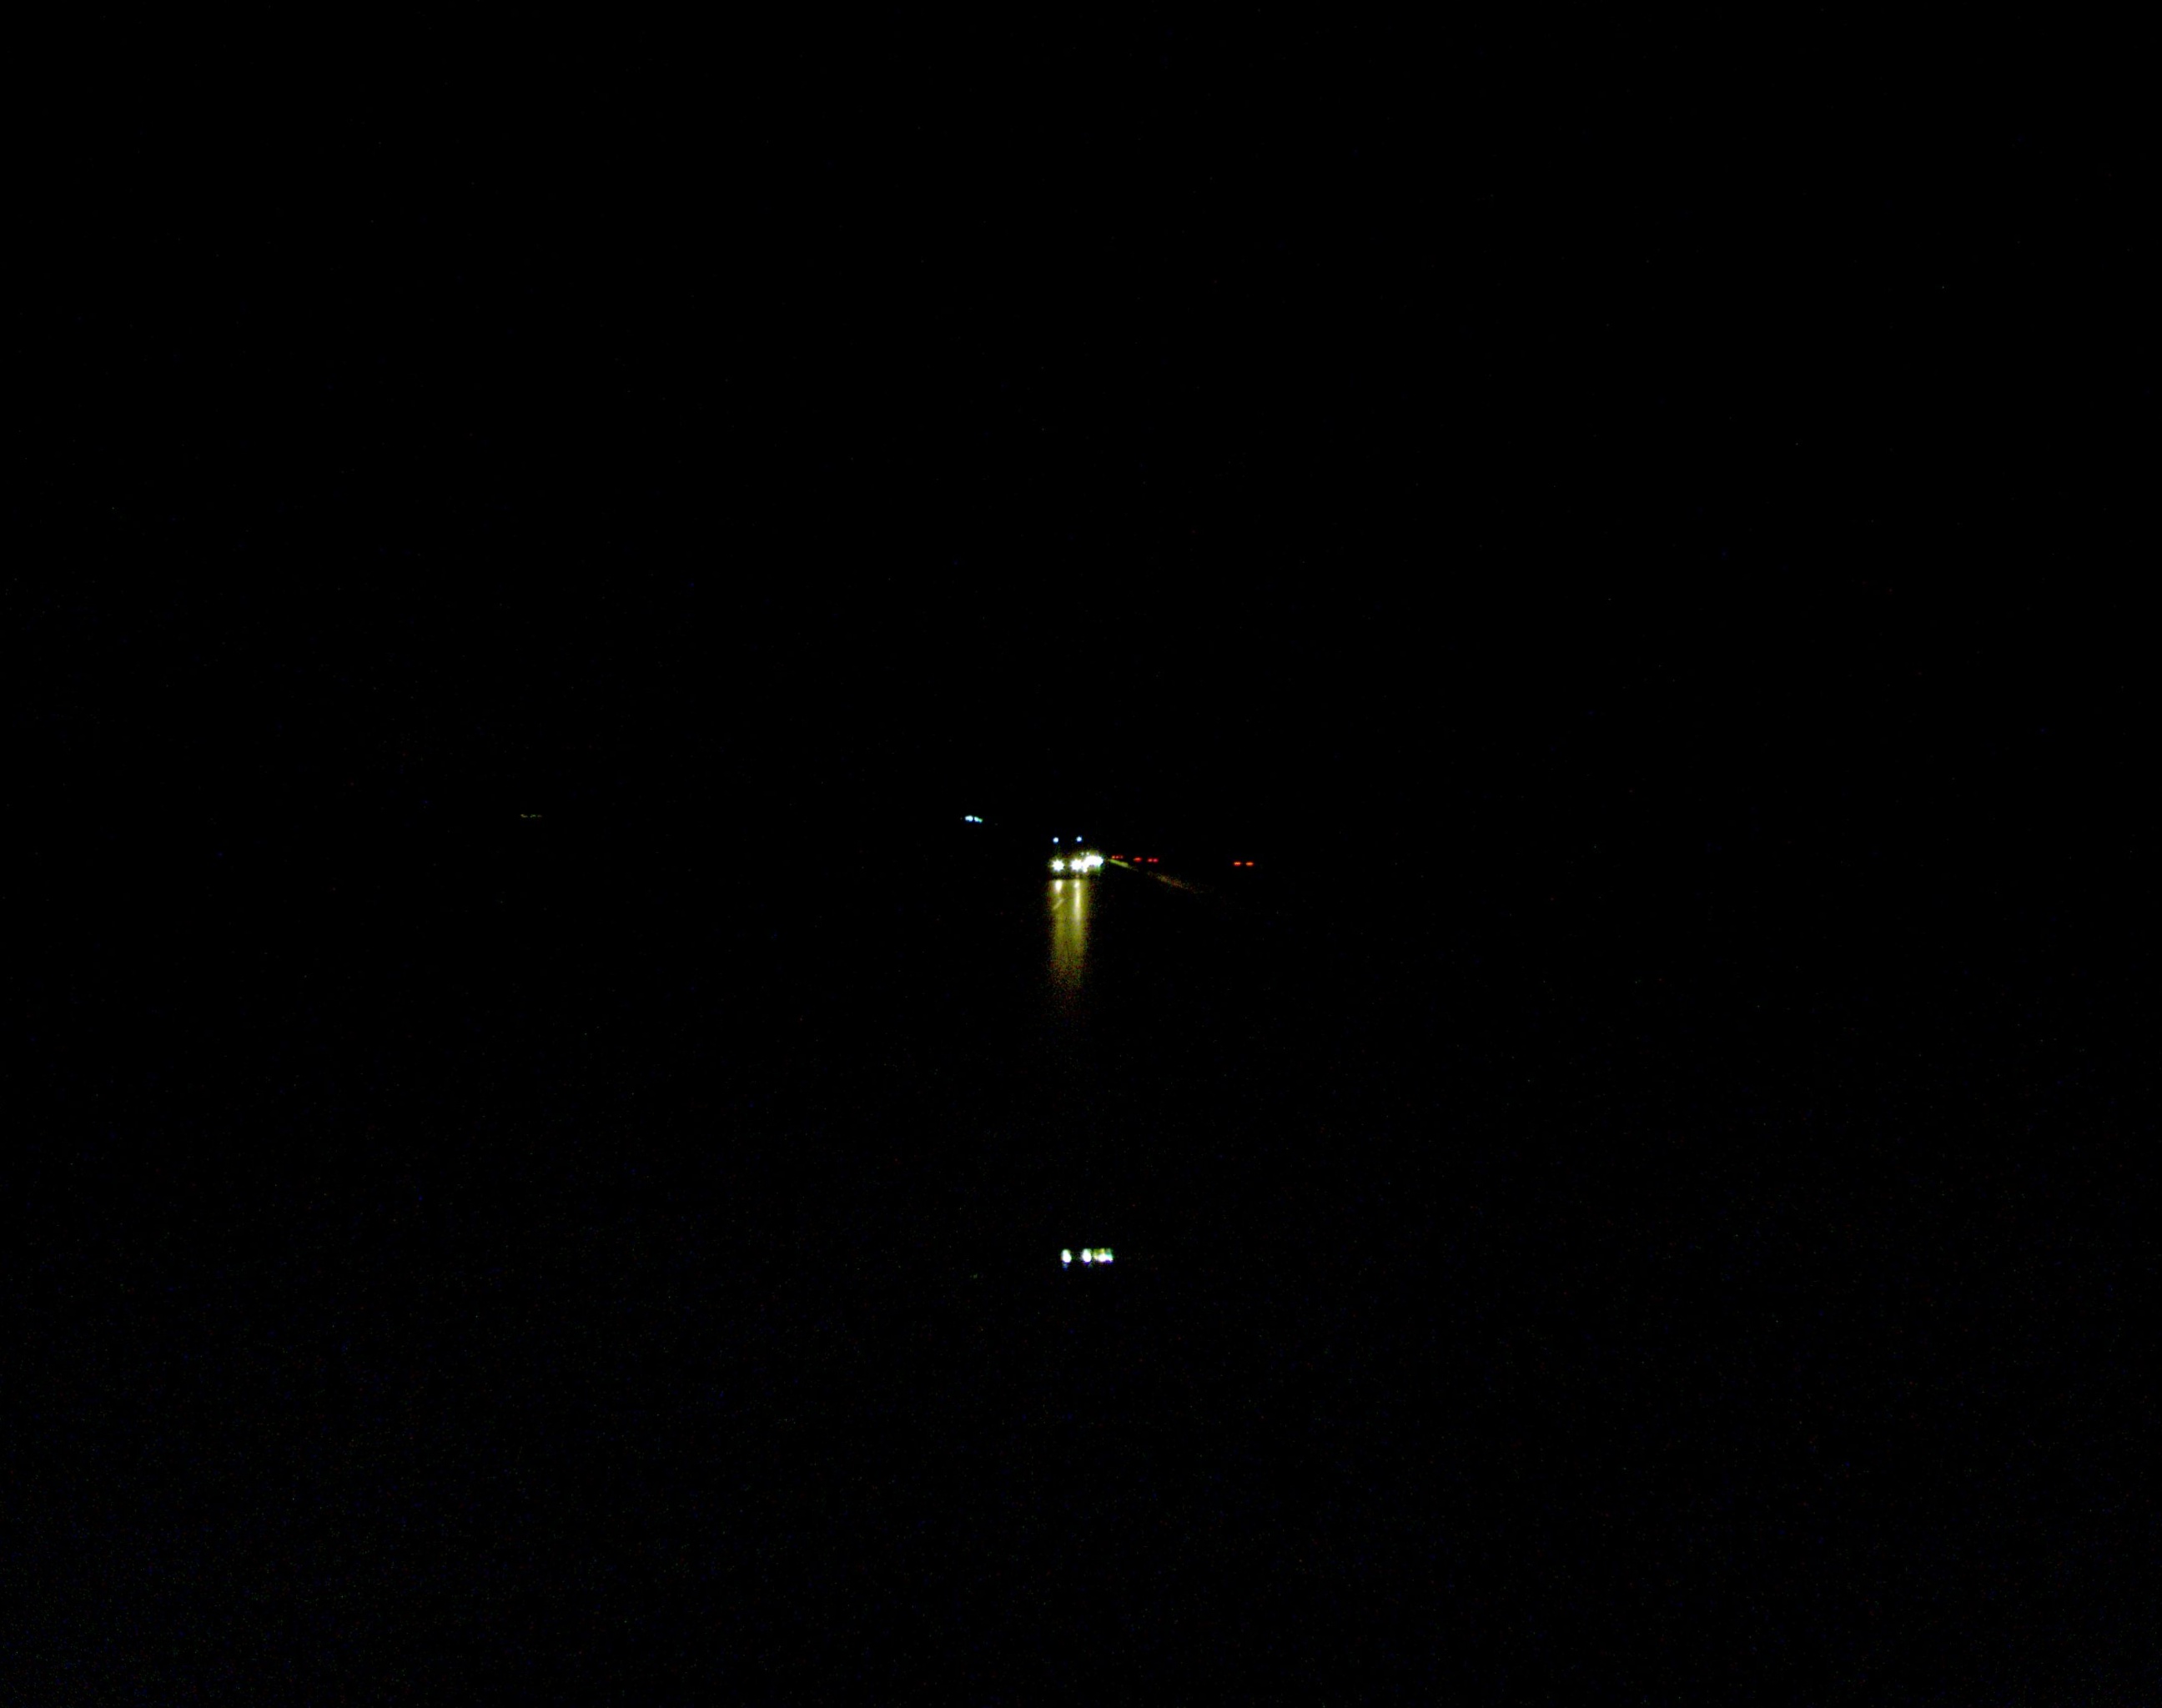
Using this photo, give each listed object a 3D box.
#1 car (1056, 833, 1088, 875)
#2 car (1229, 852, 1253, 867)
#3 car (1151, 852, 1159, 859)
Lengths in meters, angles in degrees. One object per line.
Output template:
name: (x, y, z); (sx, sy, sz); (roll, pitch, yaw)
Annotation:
car: (-0.654, -0.006, 62.094); (2.255, 3.205, 6.878); (-2, 0, 2)
car: (19.092, 0.633, 90.687); (2.049, 1.710, 4.775); (1, 0, 2)
car: (18.775, 0.396, 193.318); (1.908, 1.633, 5.299); (0, 0, 2)
